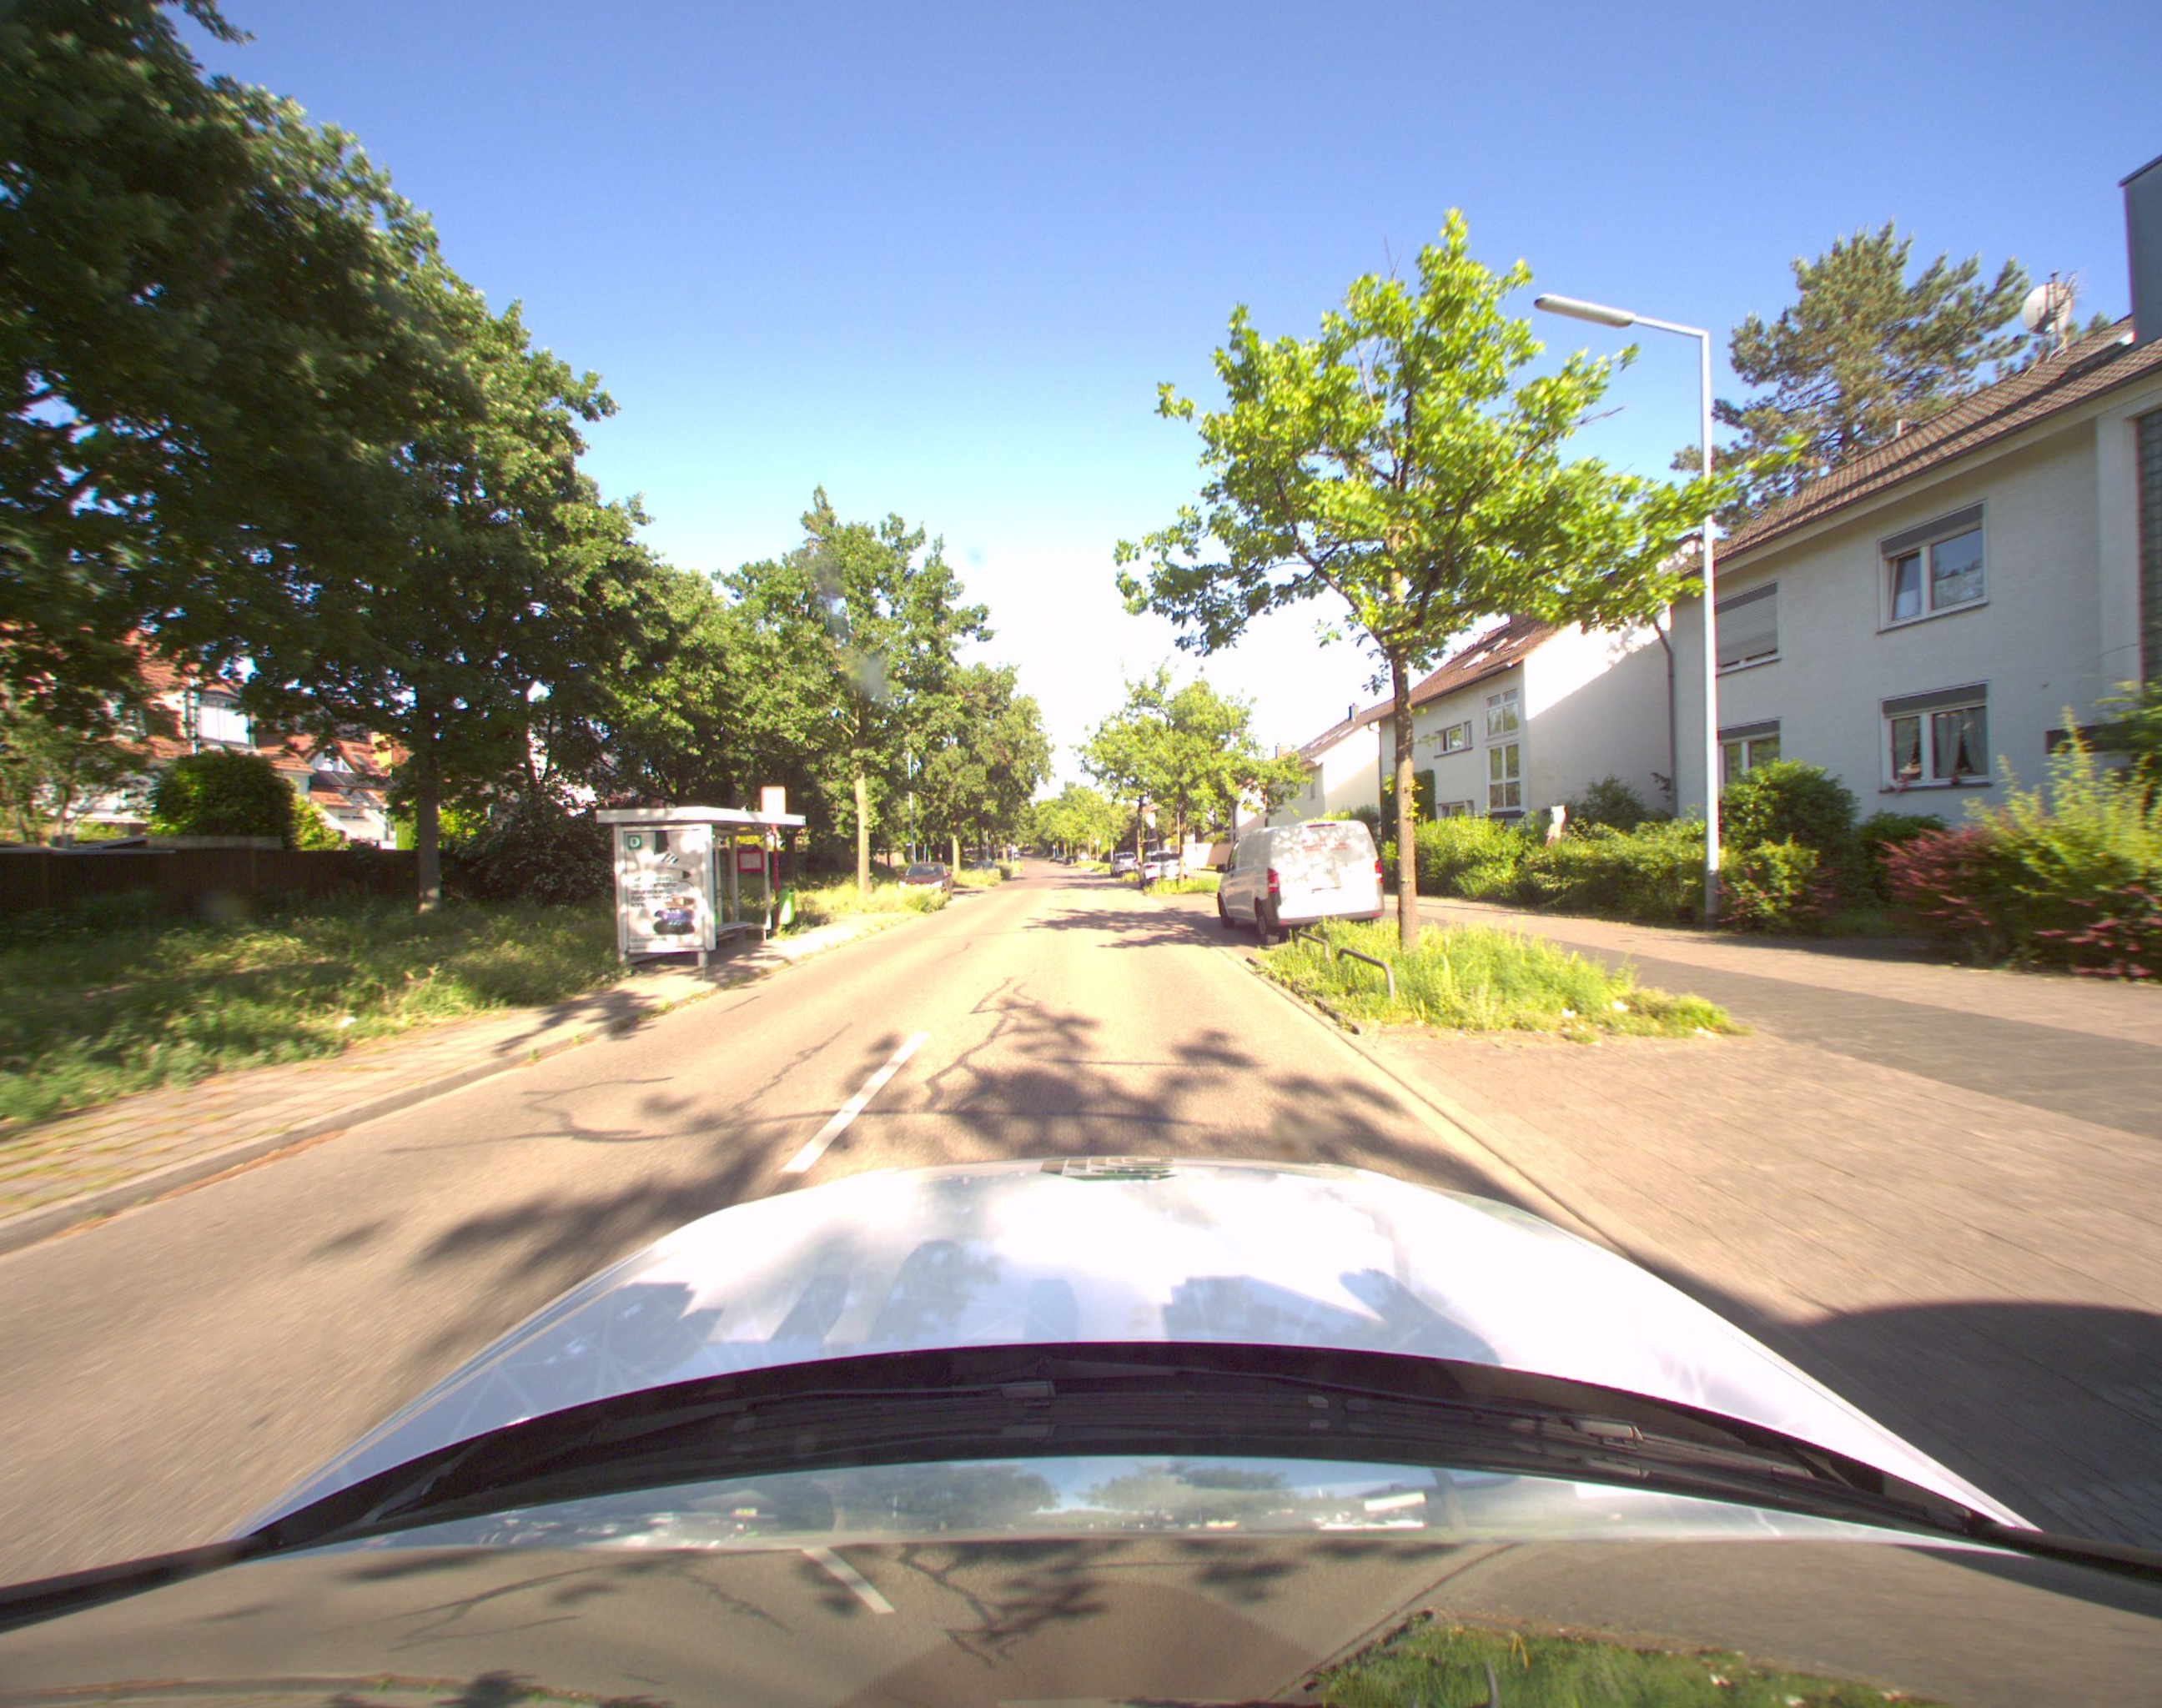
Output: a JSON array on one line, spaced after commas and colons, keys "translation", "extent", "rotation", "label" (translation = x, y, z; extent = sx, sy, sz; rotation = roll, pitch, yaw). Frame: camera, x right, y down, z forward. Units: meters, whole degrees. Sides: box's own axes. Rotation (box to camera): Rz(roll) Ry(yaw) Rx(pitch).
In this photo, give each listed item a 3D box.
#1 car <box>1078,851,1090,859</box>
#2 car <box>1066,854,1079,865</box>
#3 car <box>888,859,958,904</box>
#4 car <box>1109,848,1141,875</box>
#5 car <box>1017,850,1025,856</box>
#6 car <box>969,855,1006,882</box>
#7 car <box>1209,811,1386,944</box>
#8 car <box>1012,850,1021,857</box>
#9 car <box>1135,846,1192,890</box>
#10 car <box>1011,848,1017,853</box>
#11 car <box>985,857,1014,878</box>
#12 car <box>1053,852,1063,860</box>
[{"translation": [0.547, 0.225, 152.637], "extent": [1.928, 1.454, 3.997], "rotation": [-2, 0, -2], "label": "car"}, {"translation": [-1.398, 0.810, 126.663], "extent": [1.928, 1.542, 3.998], "rotation": [-2, 0, -1], "label": "car"}, {"translation": [-5.743, 0.967, 30.096], "extent": [1.931, 1.479, 3.996], "rotation": [-2, 0, -3], "label": "car"}, {"translation": [3.049, 0.509, 57.483], "extent": [1.928, 1.742, 3.998], "rotation": [-2, 0, -1], "label": "car"}, {"translation": [-16.155, -0.280, 219.298], "extent": [1.750, 1.454, 3.997], "rotation": [-2, 0, -2], "label": "car"}, {"translation": [-5.628, 0.857, 49.365], "extent": [1.989, 1.556, 3.995], "rotation": [-1, 0, -3], "label": "car"}, {"translation": [3.683, 0.362, 14.816], "extent": [1.830, 1.971, 4.756], "rotation": [-2, 0, -1], "label": "car"}, {"translation": [-14.987, -0.134, 190.256], "extent": [1.928, 1.454, 3.997], "rotation": [-2, 0, -2], "label": "car"}, {"translation": [3.477, 0.569, 34.942], "extent": [1.930, 1.704, 3.998], "rotation": [-2, 0, -1], "label": "car"}, {"translation": [-19.632, -1.011, 239.104], "extent": [1.750, 1.454, 3.997], "rotation": [-2, 0, -2], "label": "car"}, {"translation": [-6.118, 1.025, 61.365], "extent": [1.791, 1.479, 3.519], "rotation": [-2, 0, 0], "label": "car"}, {"translation": [-4.417, 0.346, 155.052], "extent": [1.928, 1.454, 3.997], "rotation": [-2, 0, -2], "label": "car"}]
